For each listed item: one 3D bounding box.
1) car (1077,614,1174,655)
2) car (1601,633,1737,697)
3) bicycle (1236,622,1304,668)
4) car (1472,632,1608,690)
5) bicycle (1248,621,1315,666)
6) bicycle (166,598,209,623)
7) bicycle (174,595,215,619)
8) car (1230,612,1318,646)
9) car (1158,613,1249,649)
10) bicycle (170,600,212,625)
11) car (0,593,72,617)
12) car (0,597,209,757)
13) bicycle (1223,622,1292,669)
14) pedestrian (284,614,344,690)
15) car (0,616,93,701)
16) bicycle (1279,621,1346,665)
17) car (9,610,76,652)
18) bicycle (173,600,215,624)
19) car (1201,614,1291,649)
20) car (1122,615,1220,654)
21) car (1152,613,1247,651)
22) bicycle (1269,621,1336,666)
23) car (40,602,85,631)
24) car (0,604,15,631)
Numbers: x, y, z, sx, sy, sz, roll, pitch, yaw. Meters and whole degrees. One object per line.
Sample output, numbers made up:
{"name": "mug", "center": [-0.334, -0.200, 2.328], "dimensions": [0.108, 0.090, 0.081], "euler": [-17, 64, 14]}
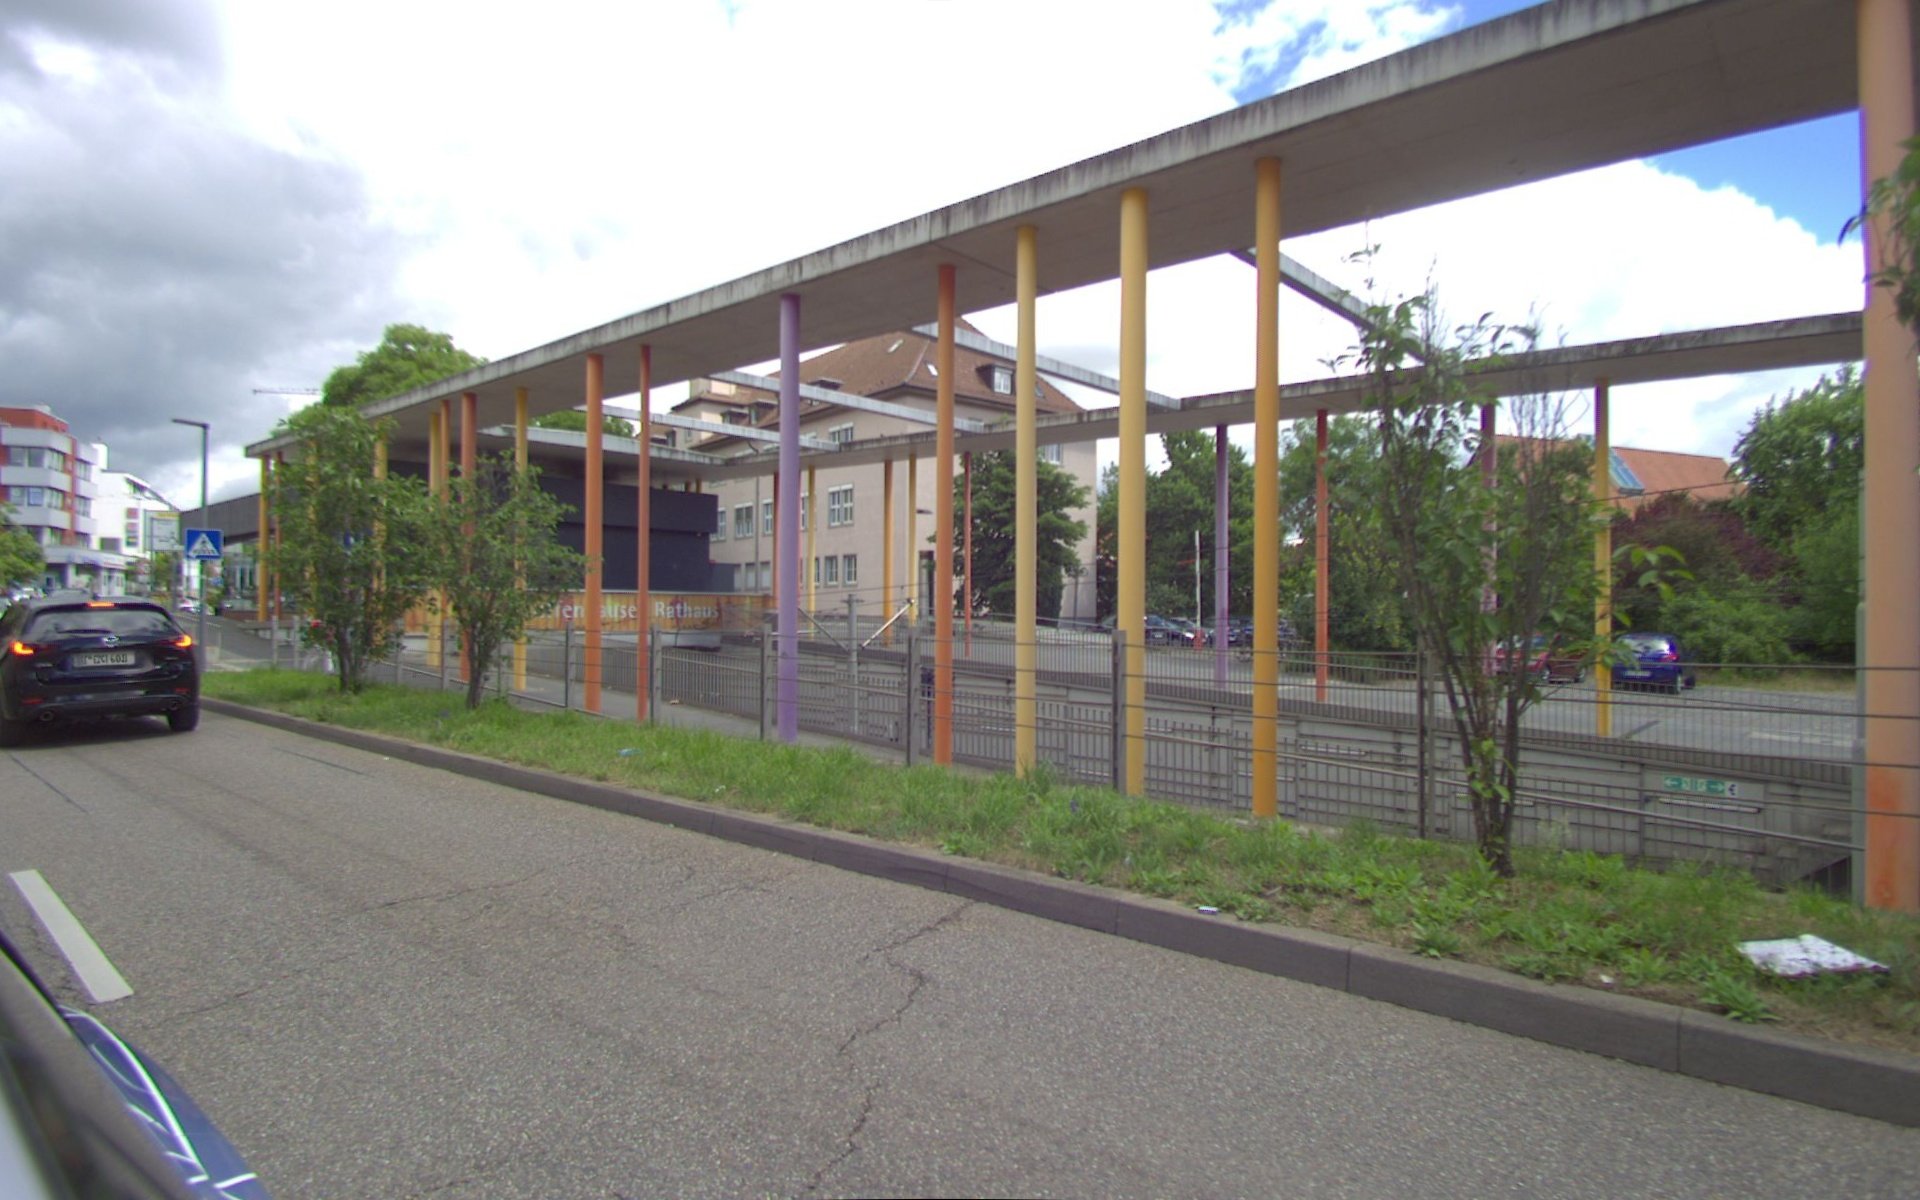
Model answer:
{"name": "car", "center": [7.289, 1.534, 44.840], "dimensions": [1.874, 1.682, 4.006], "euler": [0, -1, -40]}
{"name": "car", "center": [18.512, 1.645, 26.382], "dimensions": [3.933, 1.411, 1.574], "euler": [0, 1, -34]}
{"name": "bicycle", "center": [9.367, 1.335, 30.653], "dimensions": [0.524, 1.278, 2.065], "euler": [0, 1, -35]}
{"name": "car", "center": [16.352, 1.667, 28.503], "dimensions": [3.933, 1.347, 1.731], "euler": [0, 1, -34]}
{"name": "bicycle", "center": [9.846, 1.313, 31.082], "dimensions": [0.524, 1.278, 2.065], "euler": [0, 1, -35]}
{"name": "bicycle", "center": [-35.657, 0.477, 46.747], "dimensions": [1.525, 1.136, 0.535], "euler": [2, -1, -35]}
{"name": "bicycle", "center": [-36.986, 0.348, 48.917], "dimensions": [1.525, 1.136, 0.535], "euler": [2, -1, -35]}
{"name": "car", "center": [16.420, 1.499, 53.012], "dimensions": [1.874, 1.682, 4.006], "euler": [0, -1, -40]}
{"name": "car", "center": [12.010, 1.550, 50.072], "dimensions": [1.874, 1.682, 4.006], "euler": [0, -1, -40]}
{"name": "bicycle", "center": [-36.188, 0.583, 47.663], "dimensions": [1.525, 1.136, 0.535], "euler": [2, -1, -35]}
{"name": "car", "center": [-70.381, 0.355, 77.145], "dimensions": [1.820, 1.675, 3.996], "euler": [0, 1, 3]}
{"name": "car", "center": [-11.035, 0.812, 12.405], "dimensions": [4.622, 1.617, 1.900], "euler": [-1, 0, 40]}
{"name": "bicycle", "center": [8.873, 1.346, 30.270], "dimensions": [0.524, 1.278, 2.065], "euler": [0, 1, -35]}
{"name": "pedestrian", "center": [-14.131, 1.119, 22.152], "dimensions": [0.814, 1.577, 0.918], "euler": [1, 1, 40]}
{"name": "car", "center": [-18.094, 1.063, 19.392], "dimensions": [3.907, 1.480, 1.792], "euler": [-1, 0, 43]}
{"name": "bicycle", "center": [11.180, 1.333, 32.171], "dimensions": [0.524, 1.278, 2.065], "euler": [0, 1, -35]}
{"name": "car", "center": [-34.579, 1.111, 38.117], "dimensions": [1.751, 1.475, 4.238], "euler": [-1, 0, -44]}
{"name": "bicycle", "center": [-36.626, 0.576, 48.413], "dimensions": [1.525, 1.136, 0.535], "euler": [2, -1, -35]}
{"name": "car", "center": [14.415, 1.579, 51.189], "dimensions": [1.874, 1.682, 4.006], "euler": [0, -1, -40]}
{"name": "car", "center": [9.528, 1.553, 45.858], "dimensions": [1.874, 1.682, 4.006], "euler": [0, -1, -40]}
{"name": "car", "center": [11.241, 1.486, 47.682], "dimensions": [1.874, 1.682, 4.006], "euler": [0, -1, -40]}
{"name": "bicycle", "center": [10.712, 1.352, 31.713], "dimensions": [0.524, 1.278, 2.065], "euler": [0, 1, -35]}
{"name": "car", "center": [-53.513, 0.954, 60.407], "dimensions": [1.776, 1.592, 4.008], "euler": [0, 1, -39]}
{"name": "car", "center": [-53.542, 0.952, 55.397], "dimensions": [1.967, 1.424, 4.748], "euler": [1, -1, -35]}
